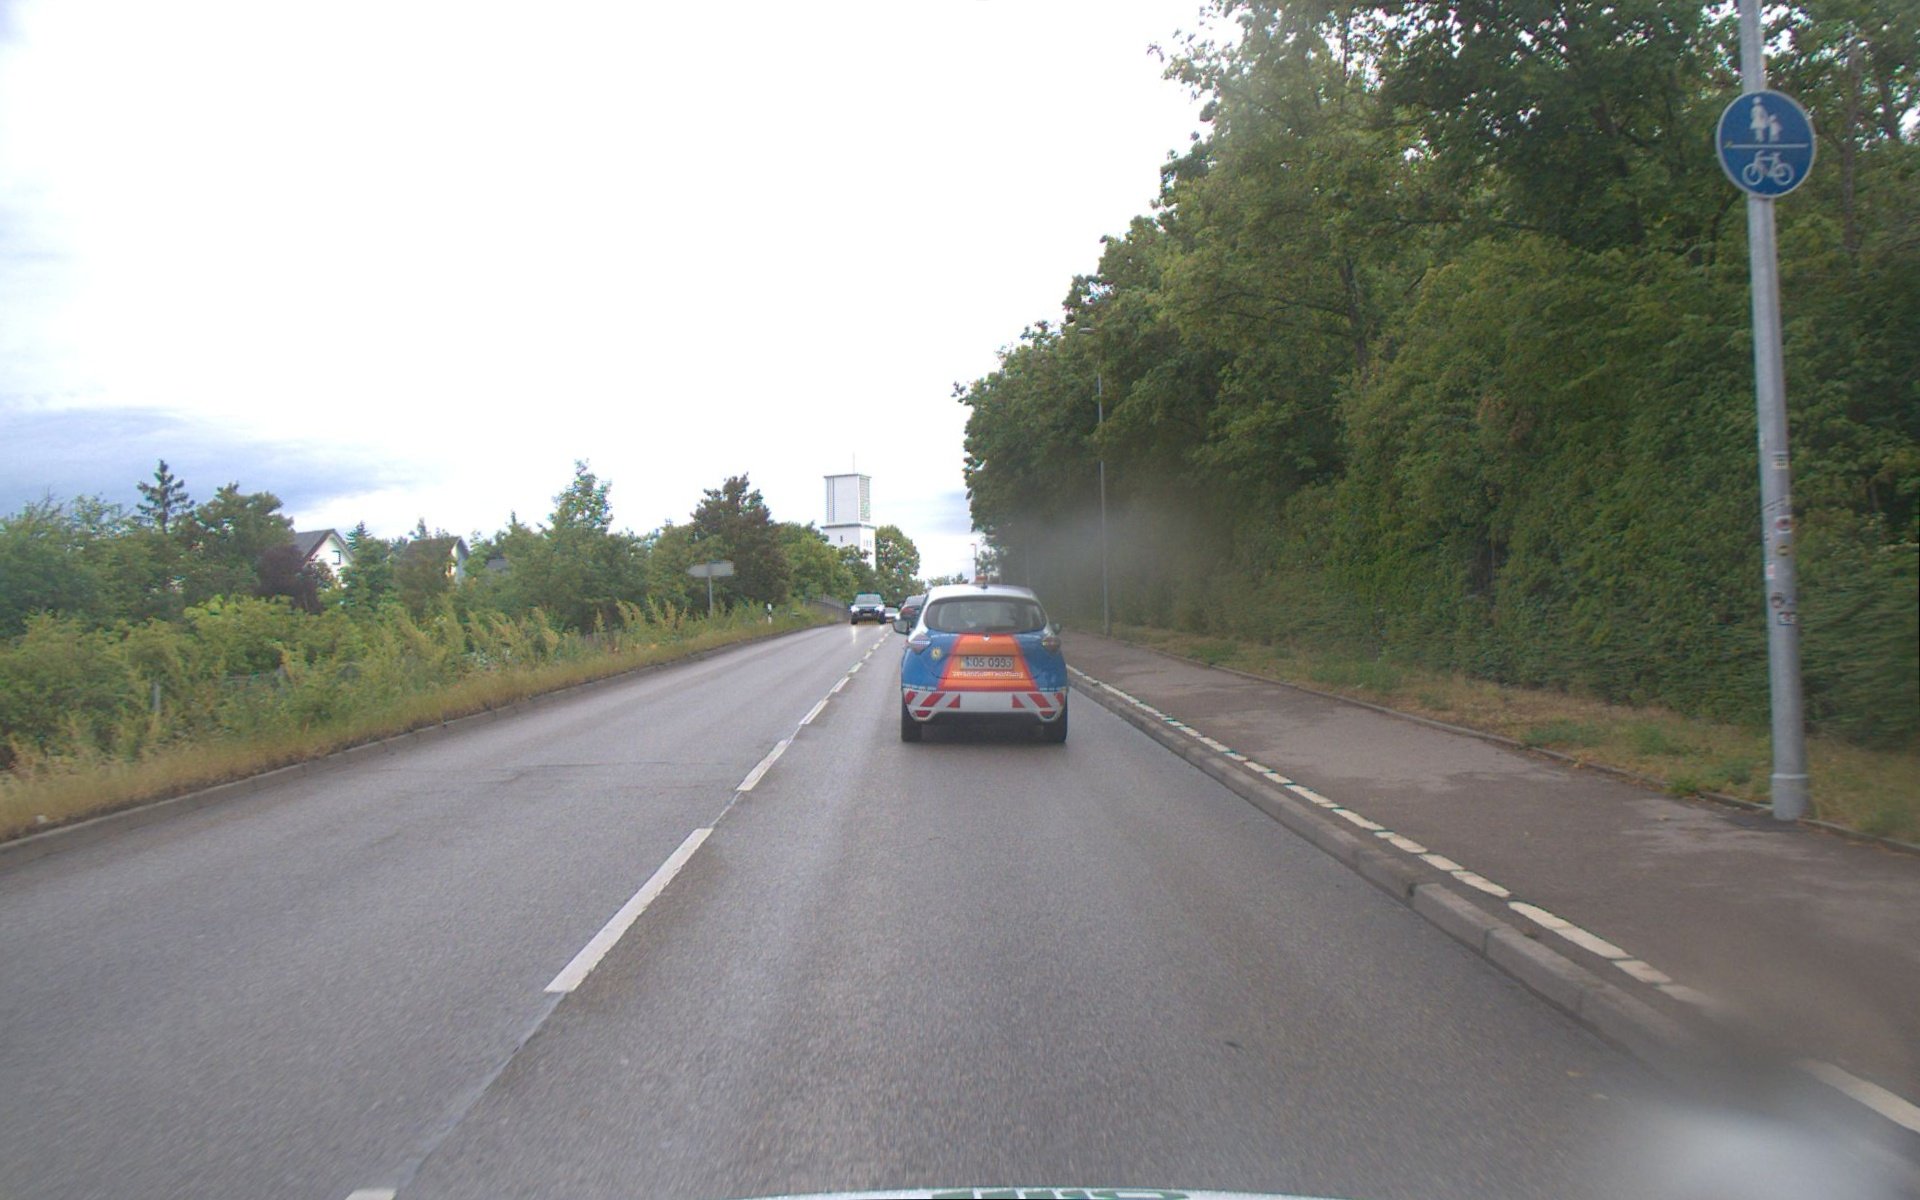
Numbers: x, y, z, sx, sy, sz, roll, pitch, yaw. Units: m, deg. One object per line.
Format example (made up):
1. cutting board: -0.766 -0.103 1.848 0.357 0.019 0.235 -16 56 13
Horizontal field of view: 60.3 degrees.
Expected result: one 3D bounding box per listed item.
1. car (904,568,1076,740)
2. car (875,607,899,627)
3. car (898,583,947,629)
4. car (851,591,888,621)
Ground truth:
1. car: 0.249 0.544 17.620 1.624 1.621 3.567 -1 -1 -1
2. car: -5.962 1.357 135.513 1.824 1.530 4.726 -1 0 -2
3. car: -1.467 0.234 63.530 1.766 1.618 3.561 -2 0 -3
4. car: -5.046 0.307 93.094 1.831 1.613 4.414 -1 0 0
